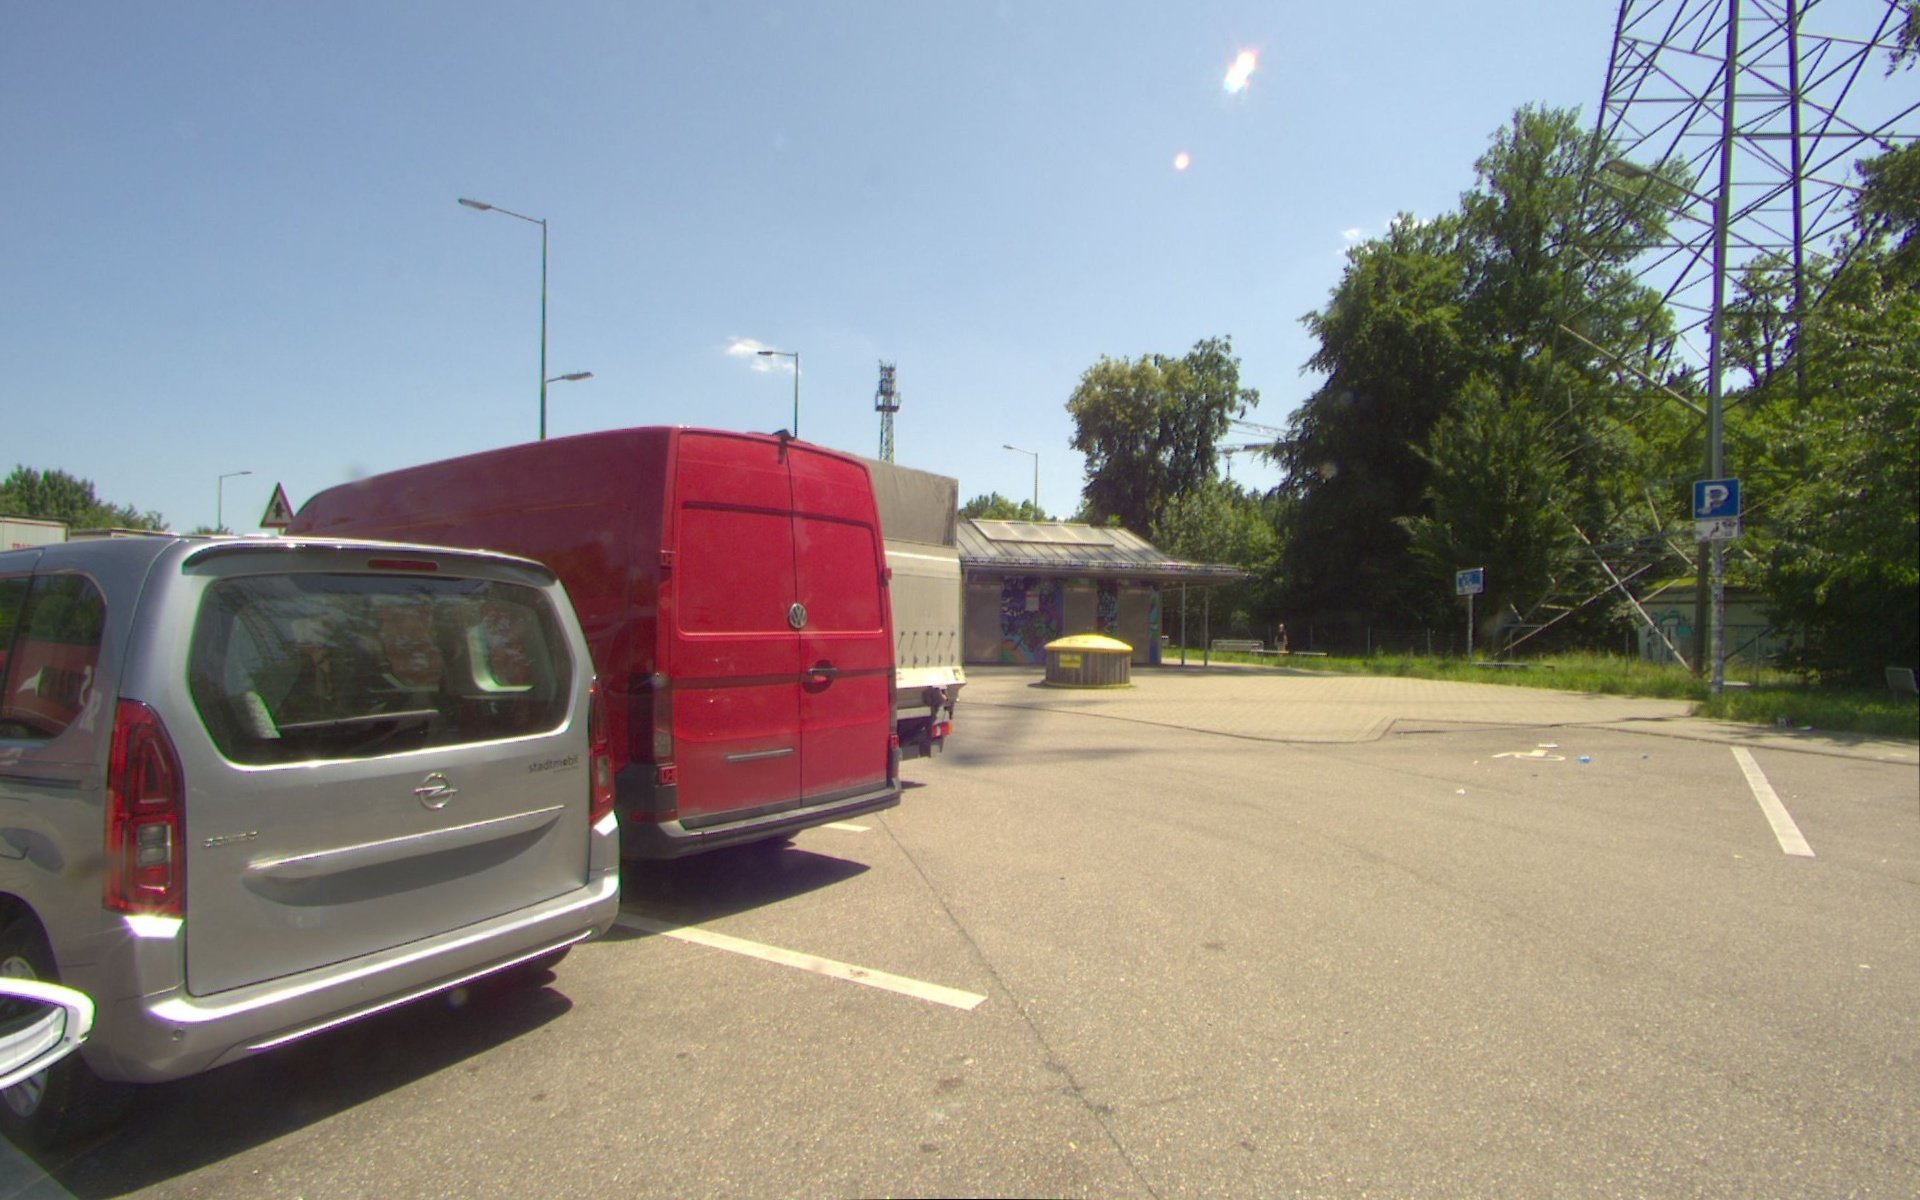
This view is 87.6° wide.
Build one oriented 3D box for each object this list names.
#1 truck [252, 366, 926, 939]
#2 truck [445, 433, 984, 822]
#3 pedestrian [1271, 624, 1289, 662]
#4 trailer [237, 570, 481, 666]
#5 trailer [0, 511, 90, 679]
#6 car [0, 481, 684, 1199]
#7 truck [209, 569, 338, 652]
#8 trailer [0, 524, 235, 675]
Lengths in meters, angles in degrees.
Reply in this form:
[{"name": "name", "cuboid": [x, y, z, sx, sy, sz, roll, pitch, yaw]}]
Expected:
[{"name": "truck", "cuboid": [-2.875, 0.338, 7.037, 5.238, 2.655, 1.972, -2, -2, 38]}, {"name": "truck", "cuboid": [-2.723, 0.305, 10.276, 5.582, 2.949, 2.449, -2, -2, 37]}, {"name": "pedestrian", "cuboid": [14.408, 1.936, 45.065, 0.724, 1.658, 0.791, -1, -1, 20]}, {"name": "trailer", "cuboid": [-26.077, 0.639, 42.896, 14.184, 3.552, 2.808, 2, -2, 33]}, {"name": "trailer", "cuboid": [-28.998, -0.261, 28.135, 14.184, 4.040, 2.808, 2, -2, 33]}, {"name": "car", "cuboid": [-3.368, 0.689, 4.237, 4.113, 1.887, 1.868, 1, -2, 31]}, {"name": "truck", "cuboid": [-32.071, 0.459, 46.755, 5.813, 3.566, 2.799, 2, -2, 33]}, {"name": "trailer", "cuboid": [-27.933, -0.105, 31.781, 14.184, 4.040, 2.808, 2, -2, 33]}]
